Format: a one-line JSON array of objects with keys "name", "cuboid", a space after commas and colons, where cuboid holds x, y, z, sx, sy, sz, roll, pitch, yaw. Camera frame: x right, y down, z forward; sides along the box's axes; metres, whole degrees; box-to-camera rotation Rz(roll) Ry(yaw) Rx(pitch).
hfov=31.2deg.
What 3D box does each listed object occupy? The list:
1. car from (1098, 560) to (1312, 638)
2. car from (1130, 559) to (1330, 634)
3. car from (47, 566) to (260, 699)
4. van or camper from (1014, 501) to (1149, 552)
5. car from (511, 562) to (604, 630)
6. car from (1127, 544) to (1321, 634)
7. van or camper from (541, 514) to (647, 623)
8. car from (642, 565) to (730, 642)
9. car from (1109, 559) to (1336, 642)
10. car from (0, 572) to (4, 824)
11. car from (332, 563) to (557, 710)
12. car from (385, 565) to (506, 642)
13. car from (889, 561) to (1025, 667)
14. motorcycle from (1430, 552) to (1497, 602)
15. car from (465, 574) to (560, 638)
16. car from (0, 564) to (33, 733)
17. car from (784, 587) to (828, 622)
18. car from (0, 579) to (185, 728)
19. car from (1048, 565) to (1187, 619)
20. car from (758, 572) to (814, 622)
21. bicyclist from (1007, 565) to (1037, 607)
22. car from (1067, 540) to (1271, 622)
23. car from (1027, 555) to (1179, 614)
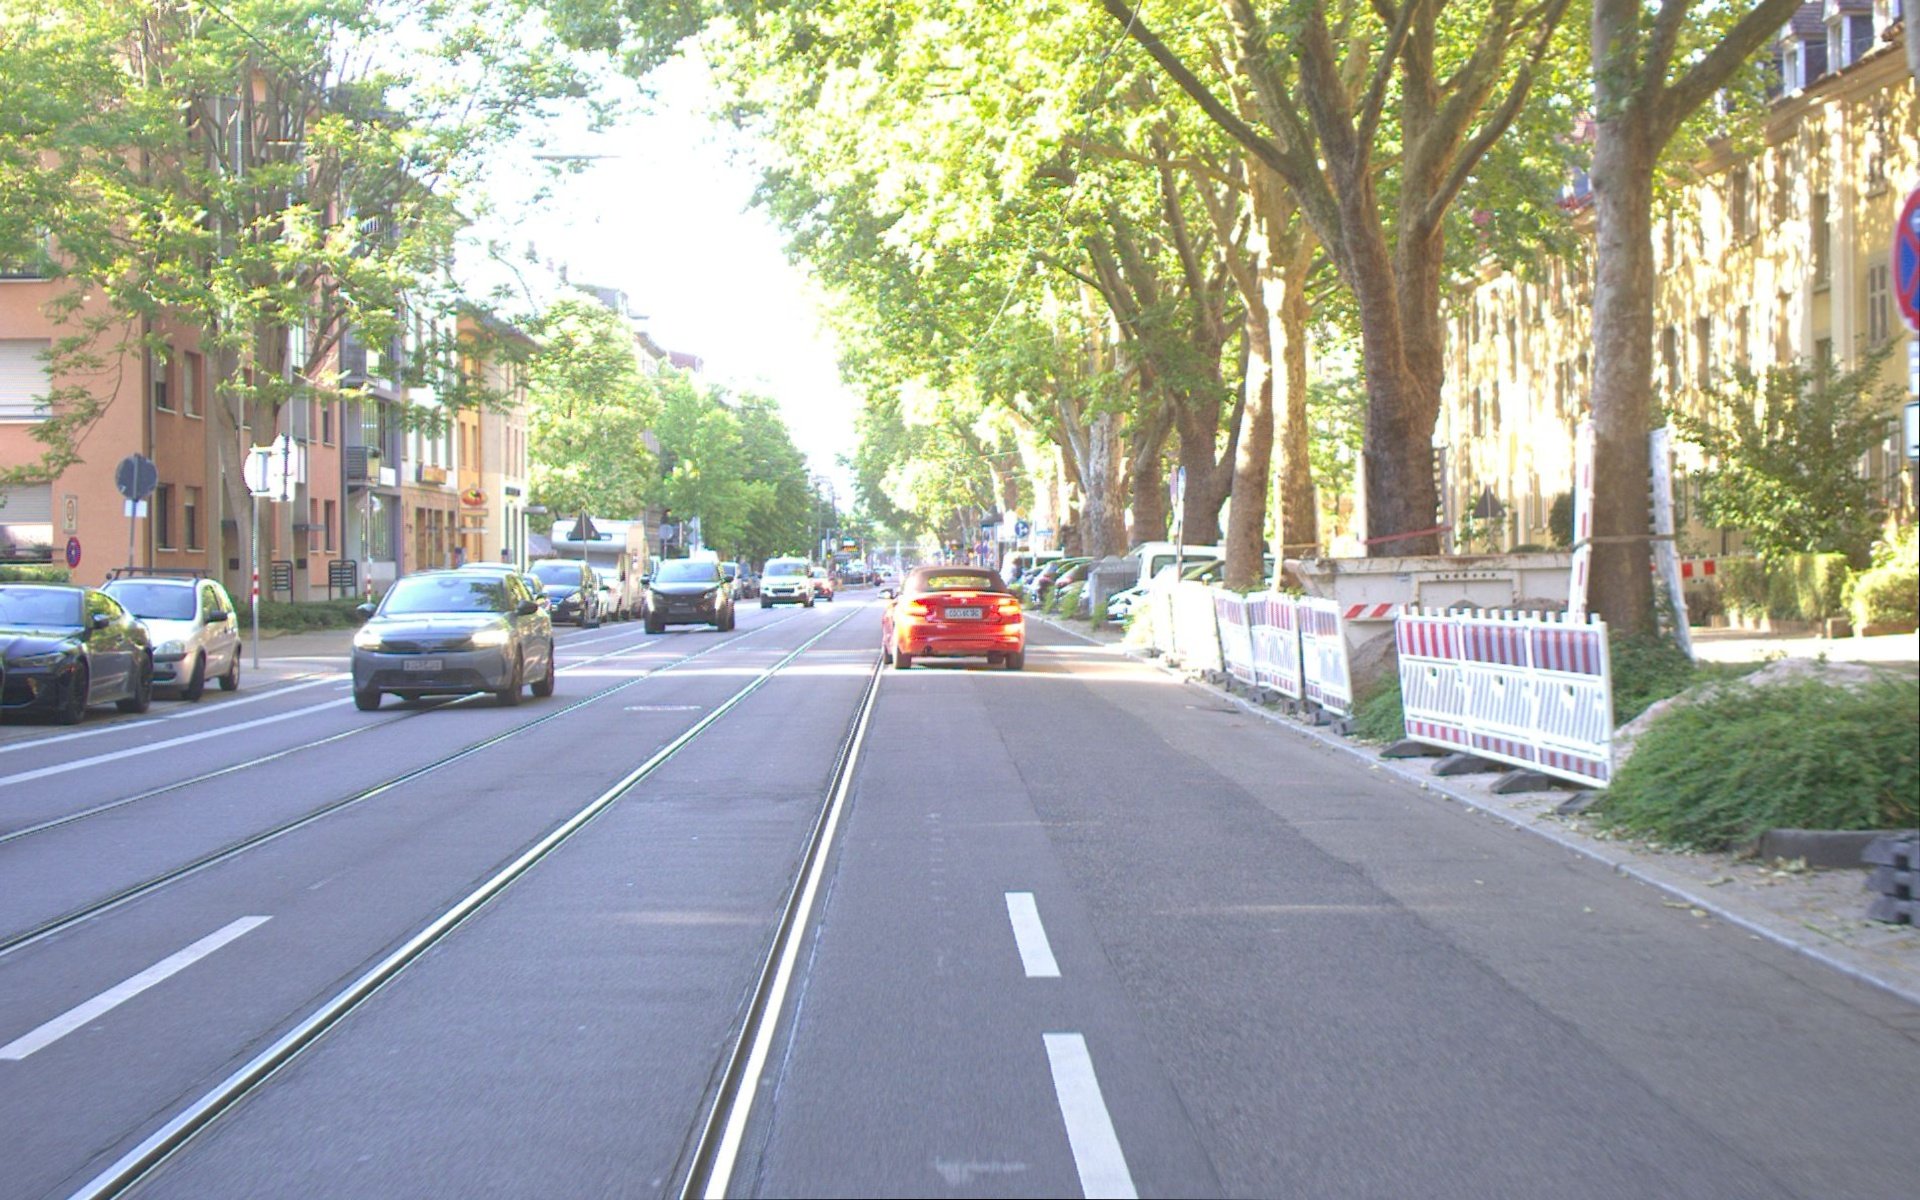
[{"name": "car", "cuboid": [5.074, -0.027, 71.369, 4.371, 1.537, 1.801, 0, 1, 3]}, {"name": "car", "cuboid": [5.270, -0.071, 67.381, 3.844, 1.428, 1.851, 0, 0, 3]}, {"name": "car", "cuboid": [-9.715, 0.362, 41.684, 1.725, 1.478, 3.930, 2, 0, -2]}, {"name": "van or camper", "cuboid": [5.226, -3.180, 148.265, 5.554, 2.006, 2.245, -2, 2, -5]}, {"name": "car", "cuboid": [-10.537, -0.120, 90.296, 1.952, 1.680, 5.071, 2, 1, -2]}, {"name": "car", "cuboid": [5.305, -0.226, 69.342, 3.844, 1.766, 1.916, 0, 0, 3]}, {"name": "van or camper", "cuboid": [-10.875, -0.931, 102.547, 2.337, 3.030, 6.397, 3, 0, 0]}, {"name": "car", "cuboid": [-6.174, 0.063, 77.153, 1.853, 1.595, 4.465, 2, 1, -6]}, {"name": "car", "cuboid": [4.941, 0.015, 65.060, 4.087, 1.516, 1.917, 0, 0, -2]}, {"name": "car", "cuboid": [-6.303, 0.591, 17.308, 1.795, 1.441, 4.717, 0, 1, -2]}, {"name": "car", "cuboid": [-5.469, 0.346, 36.924, 1.795, 1.441, 4.053, -2, 1, 0]}, {"name": "car", "cuboid": [-10.447, 0.058, 70.058, 1.806, 1.473, 4.090, 2, 0, 0]}, {"name": "car", "cuboid": [-0.047, 0.166, 47.755, 1.792, 1.384, 4.236, 1, 1, 0]}, {"name": "motorcycle", "cuboid": [14.876, -0.688, 101.672, 1.803, 1.356, 0.622, -3, 0, -3]}, {"name": "car", "cuboid": [-10.476, 0.110, 80.680, 1.738, 1.396, 4.383, 2, 1, -2]}, {"name": "car", "cuboid": [-9.876, 0.454, 31.521, 1.819, 1.581, 4.006, 1, 1, -3]}, {"name": "car", "cuboid": [-6.830, 0.187, 152.906, 1.775, 1.453, 4.202, -2, 1, -1]}, {"name": "car", "cuboid": [-9.798, 0.516, 36.548, 1.952, 1.390, 4.863, 2, 1, 0]}, {"name": "car", "cuboid": [4.447, -0.241, 97.645, 3.838, 1.504, 1.711, 0, 0, -1]}, {"name": "car", "cuboid": [-6.450, -0.131, 127.581, 1.891, 1.826, 4.895, 0, 0, -1]}, {"name": "bicyclist", "cuboid": [2.535, -0.563, 140.644, 1.045, 1.700, 1.058, 0, 0, -10]}, {"name": "car", "cuboid": [5.129, -0.478, 84.835, 4.835, 1.956, 2.065, 0, 0, -3]}, {"name": "car", "cuboid": [4.349, -0.462, 104.101, 4.497, 1.596, 2.027, -2, 0, 3]}]
